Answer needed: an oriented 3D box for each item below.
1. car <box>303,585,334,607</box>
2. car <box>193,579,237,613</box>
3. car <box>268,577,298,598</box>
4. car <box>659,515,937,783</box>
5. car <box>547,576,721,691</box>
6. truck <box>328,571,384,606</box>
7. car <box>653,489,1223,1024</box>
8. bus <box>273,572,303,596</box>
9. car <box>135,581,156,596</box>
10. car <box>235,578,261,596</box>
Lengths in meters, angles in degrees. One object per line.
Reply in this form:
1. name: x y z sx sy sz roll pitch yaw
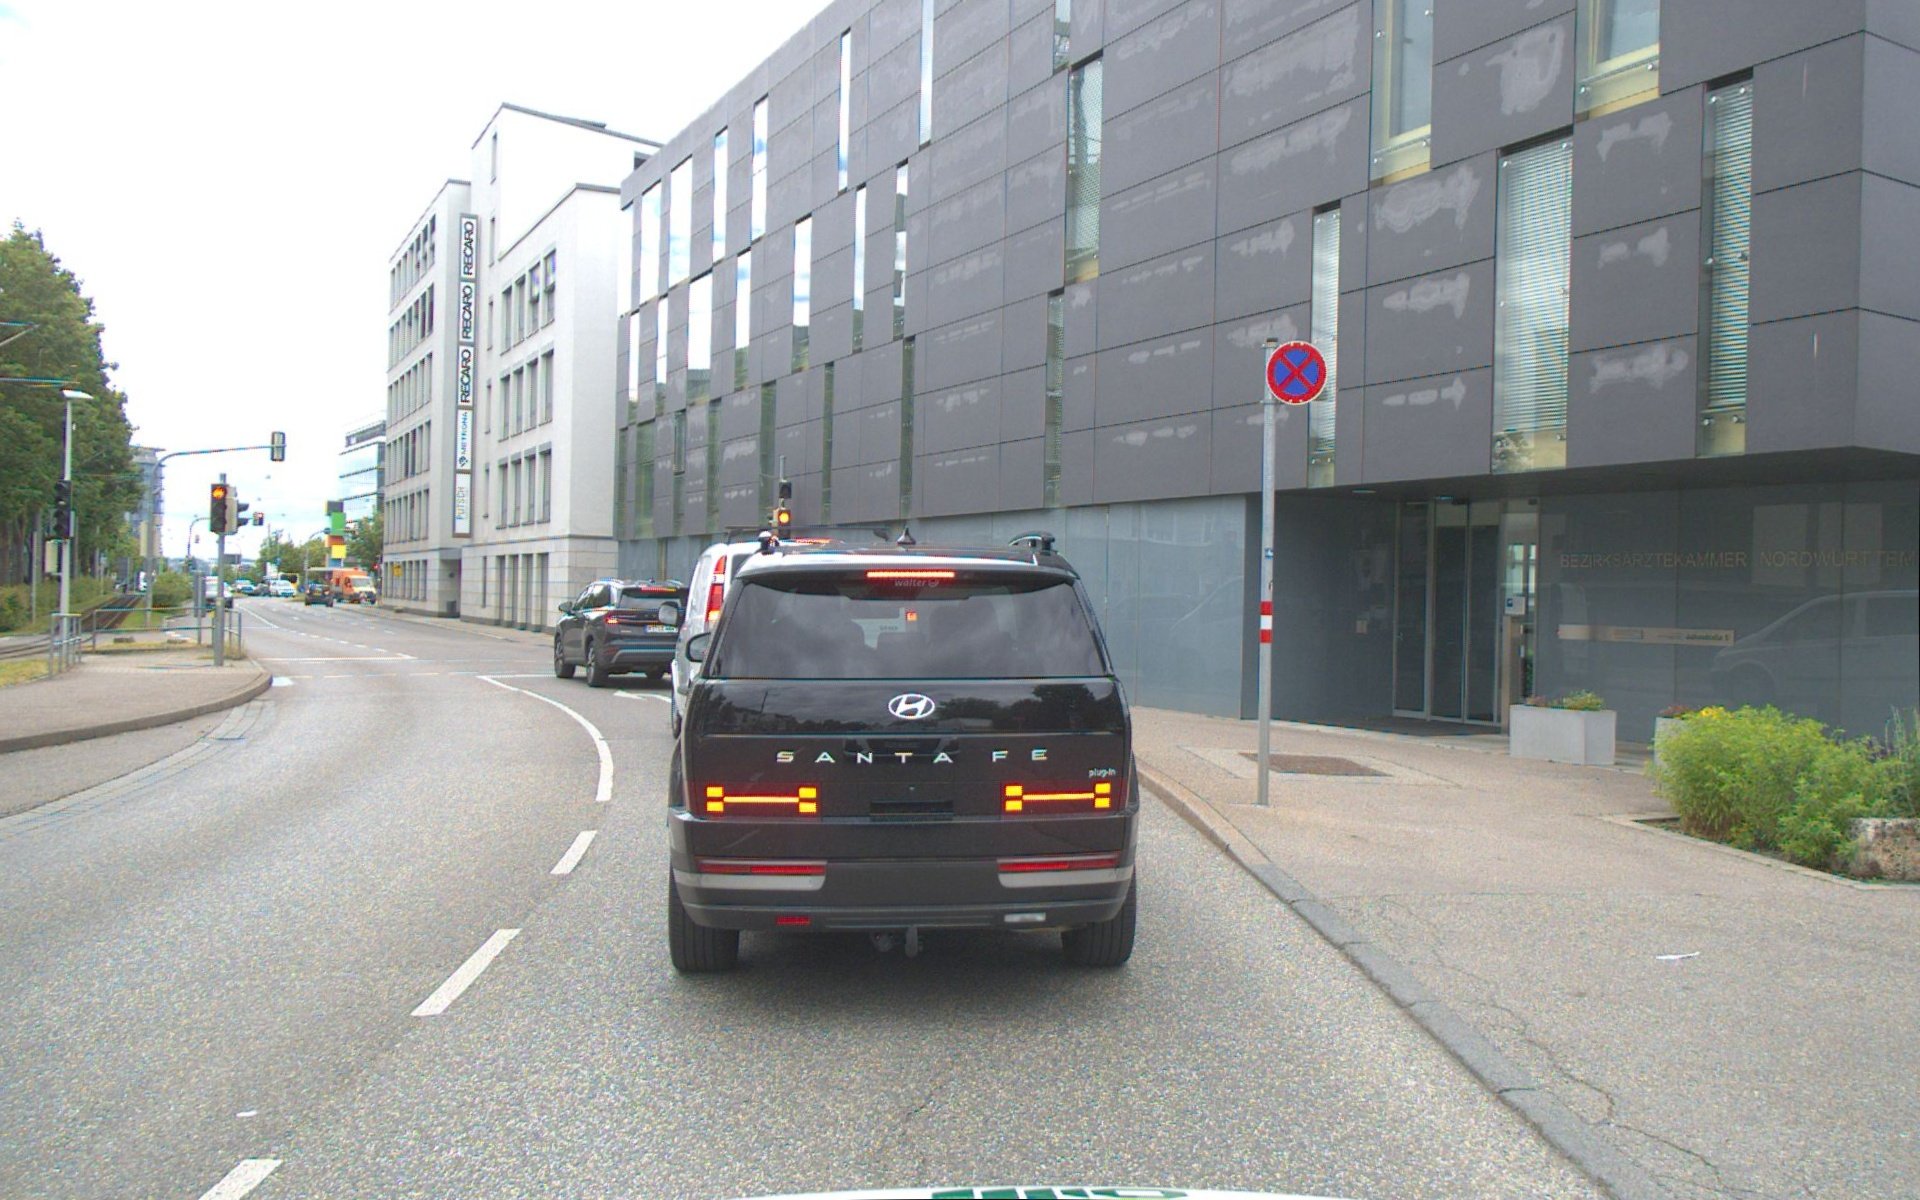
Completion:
1. car: -46.060 -0.296 118.848 1.870 1.512 3.979 1 0 -19
2. car: -39.845 -0.223 88.427 1.831 1.725 3.963 1 0 -28
3. car: -63.829 -1.199 155.851 1.897 1.755 4.125 3 0 -32
4. car: -1.639 0.362 15.129 1.825 2.069 4.419 1 0 -15
5. car: -5.385 0.507 26.892 1.824 1.706 4.340 0 0 -25
6. truck: -51.021 -1.017 139.673 2.554 2.874 6.898 1 0 -37
7. car: -0.197 0.535 7.744 1.877 1.755 4.167 3 0 -4
8. bus: -90.183 -2.137 221.884 3.045 2.979 10.257 3 0 -26
9. car: -102.510 -1.440 208.173 1.897 1.755 4.125 3 0 -32
10. car: -77.807 -1.410 180.686 1.897 1.755 4.125 3 0 -32
